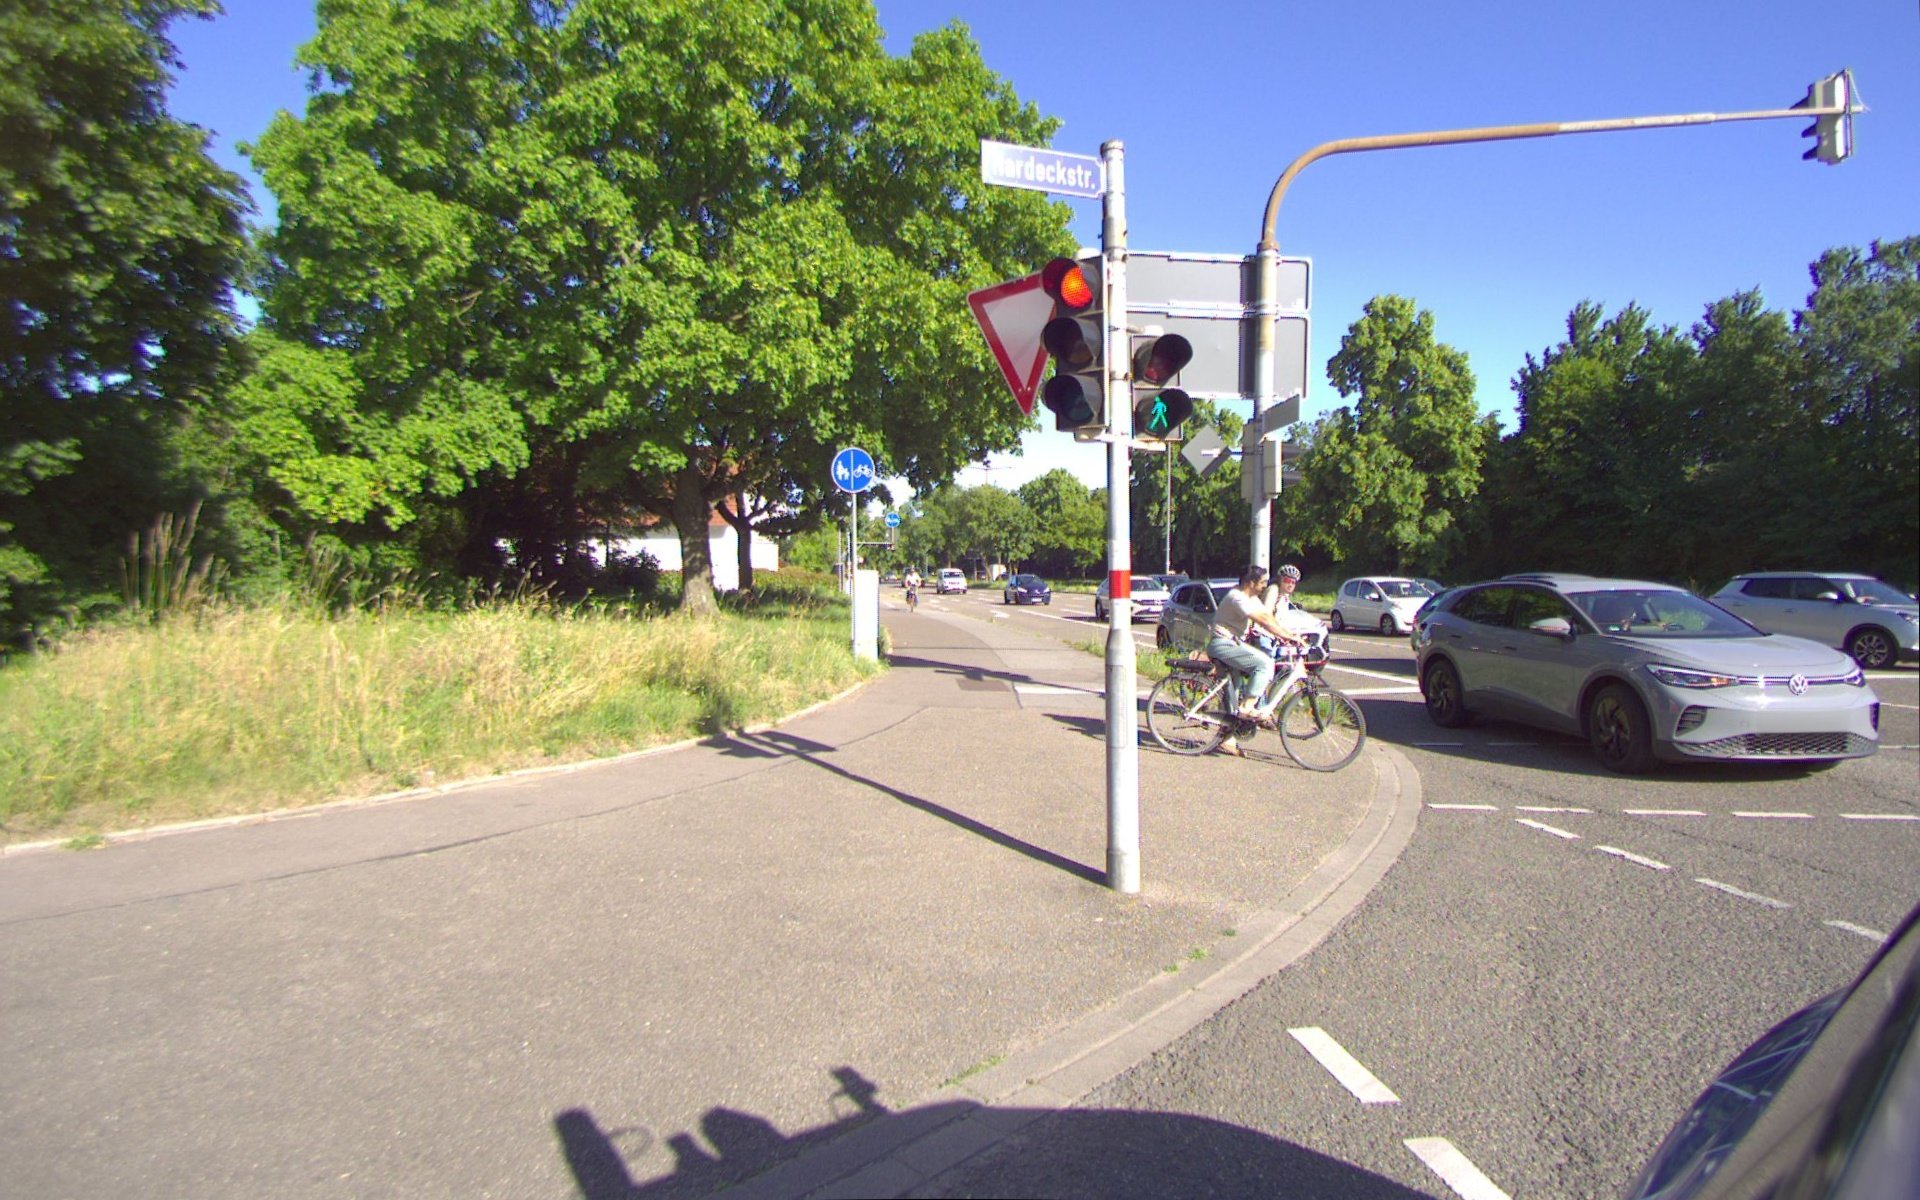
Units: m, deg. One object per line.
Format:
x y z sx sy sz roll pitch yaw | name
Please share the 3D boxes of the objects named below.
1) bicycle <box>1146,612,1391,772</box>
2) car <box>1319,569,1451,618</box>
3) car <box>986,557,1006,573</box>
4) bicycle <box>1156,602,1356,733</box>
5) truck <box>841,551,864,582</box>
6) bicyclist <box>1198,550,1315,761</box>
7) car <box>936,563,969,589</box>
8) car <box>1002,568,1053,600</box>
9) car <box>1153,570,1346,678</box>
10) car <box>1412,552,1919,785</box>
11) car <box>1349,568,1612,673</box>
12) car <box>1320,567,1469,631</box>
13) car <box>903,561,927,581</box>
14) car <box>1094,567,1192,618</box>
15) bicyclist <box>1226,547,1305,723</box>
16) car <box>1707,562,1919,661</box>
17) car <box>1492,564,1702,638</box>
2.564 0.744 8.563 1.844 1.089 0.529 5 5 15 | bicycle
13.349 -0.246 32.086 1.799 1.422 4.363 0 2 -9 | car
4.847 -4.685 136.356 1.879 2.110 4.548 -2 2 -9 | car
3.009 0.650 10.391 1.856 1.089 0.525 5 5 32 | bicycle
-11.559 -3.601 108.589 1.959 3.114 5.819 -2 2 -9 | truck
2.486 0.442 8.558 0.796 1.654 0.541 5 4 14 | bicyclist
-0.585 -1.796 74.706 1.763 1.820 3.919 -2 2 -9 | car
3.305 -0.826 50.140 1.658 1.457 3.919 -2 2 -9 | car
4.935 0.306 17.893 1.658 1.592 4.129 -2 2 -9 | car
6.360 0.417 9.646 1.955 1.660 4.369 -2 2 -2 | car
8.763 0.240 17.554 1.882 1.504 4.372 -2 2 -7 | car
11.079 -0.088 26.102 1.658 1.457 3.919 -2 2 -9 | car
-4.428 -2.831 98.584 1.804 1.820 3.919 -2 2 -9 | car
5.909 -0.308 33.258 1.882 1.504 4.372 -2 2 -7 | car
3.109 0.328 10.313 0.581 1.716 0.521 4 5 31 | bicyclist
15.694 0.134 17.643 1.799 1.556 4.203 1 2 -9 | car
14.921 -0.048 24.042 1.841 1.594 4.252 0 2 -9 | car
